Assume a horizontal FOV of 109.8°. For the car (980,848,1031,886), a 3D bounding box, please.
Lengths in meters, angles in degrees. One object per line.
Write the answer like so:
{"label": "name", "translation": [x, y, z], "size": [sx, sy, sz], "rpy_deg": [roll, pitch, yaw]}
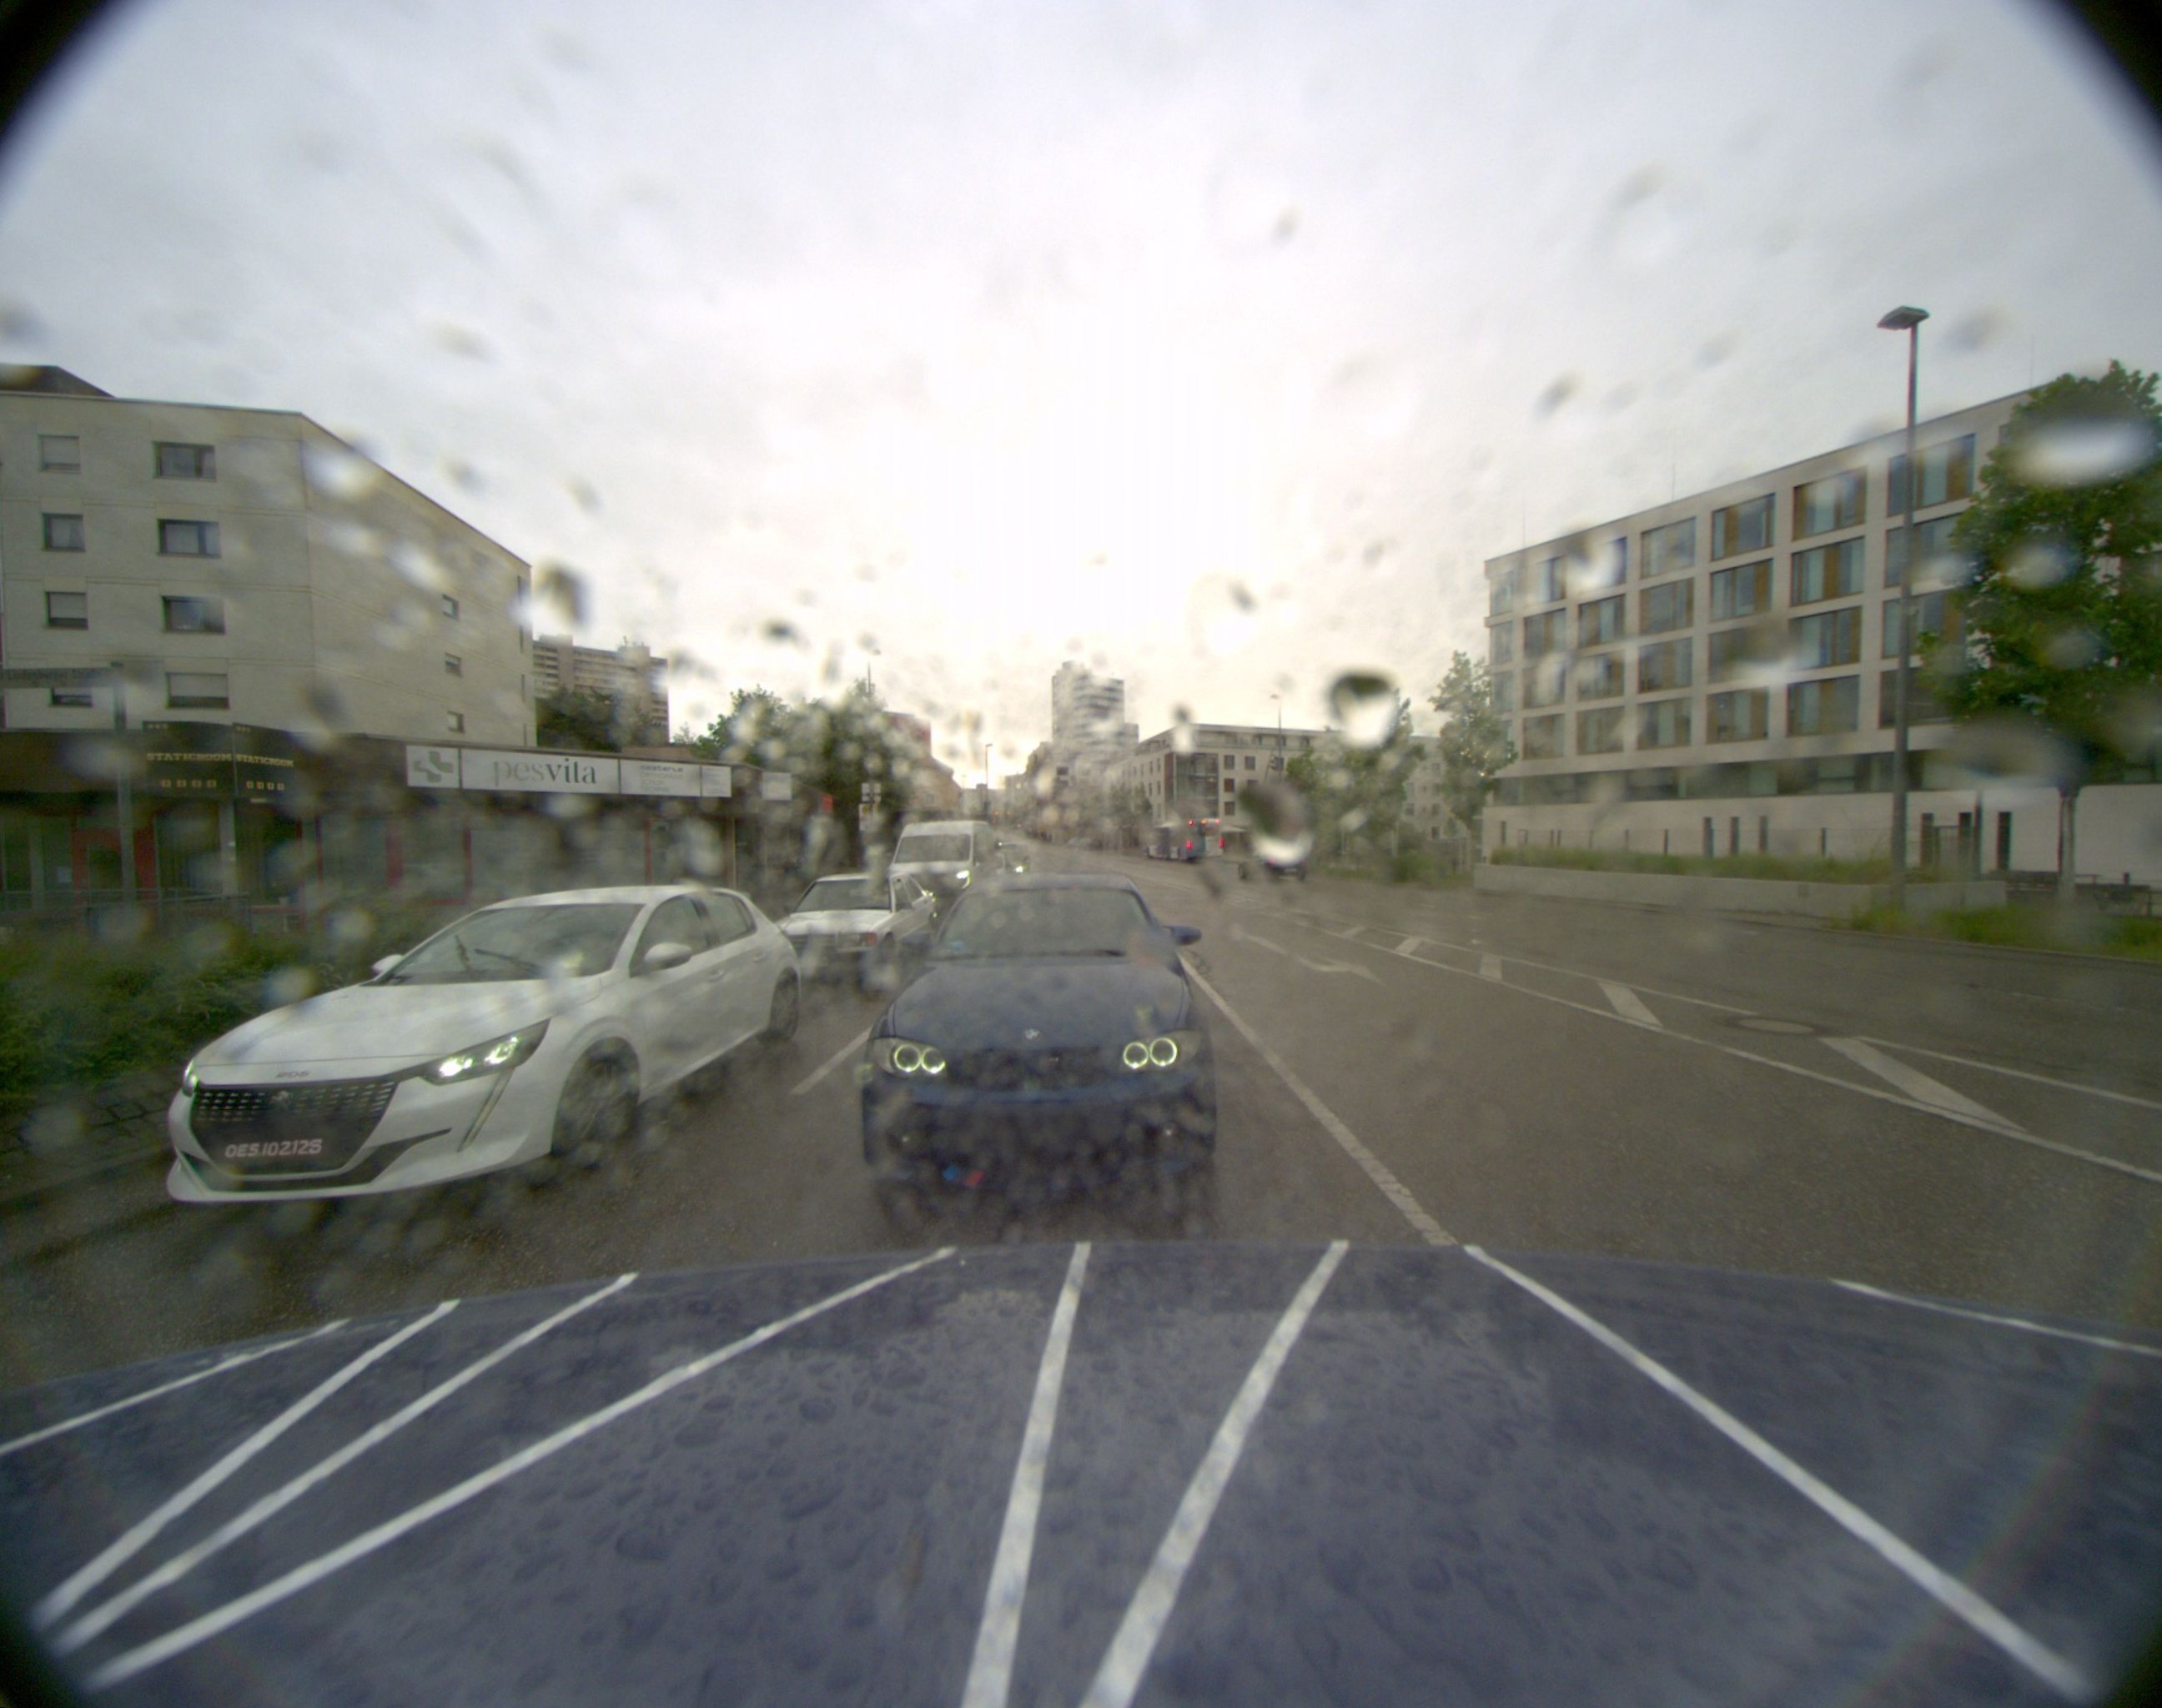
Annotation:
{"label": "car", "translation": [-3.423, 0.556, 35.118], "size": [1.999, 1.559, 3.998], "rpy_deg": [-2, 1, -1]}

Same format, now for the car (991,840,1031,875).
{"label": "car", "translation": [-4.214, 0.153, 46.375], "size": [1.998, 2.002, 3.999], "rpy_deg": [0, 1, 1]}

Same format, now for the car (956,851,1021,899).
{"label": "car", "translation": [-3.324, 0.723, 27.983], "size": [1.803, 1.530, 3.999], "rpy_deg": [-2, 1, 1]}

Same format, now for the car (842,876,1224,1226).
{"label": "car", "translation": [-0.257, 0.952, 5.453], "size": [1.693, 1.380, 3.999], "rpy_deg": [-2, 1, -1]}

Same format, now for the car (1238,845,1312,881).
{"label": "car", "translation": [8.199, 0.360, 32.464], "size": [1.790, 1.382, 4.279], "rpy_deg": [-1, 0, -4]}

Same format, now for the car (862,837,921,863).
{"label": "car", "translation": [-13.758, -0.301, 55.401], "size": [4.000, 1.769, 1.882], "rpy_deg": [-1, 1, -10]}

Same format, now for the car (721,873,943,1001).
{"label": "car", "translation": [-3.379, 1.058, 11.231], "size": [1.788, 1.338, 4.162], "rpy_deg": [-2, 1, 1]}

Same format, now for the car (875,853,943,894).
{"label": "car", "translation": [-7.014, 0.762, 31.451], "size": [1.788, 1.481, 4.000], "rpy_deg": [-2, 1, 1]}

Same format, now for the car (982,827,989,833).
{"label": "car", "translation": [-26.716, -6.754, 211.499], "size": [1.666, 1.625, 3.801], "rpy_deg": [-2, 1, -11]}

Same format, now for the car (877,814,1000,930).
{"label": "car", "translation": [-3.475, 0.335, 19.886], "size": [2.197, 2.503, 6.120], "rpy_deg": [-1, 1, -2]}

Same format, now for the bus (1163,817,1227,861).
{"label": "bus", "translation": [8.624, -1.137, 58.853], "size": [2.785, 3.096, 9.362], "rpy_deg": [-1, 1, -5]}

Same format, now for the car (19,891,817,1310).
{"label": "car", "translation": [-3.366, 1.091, 5.099], "size": [1.666, 1.407, 4.114], "rpy_deg": [-2, 1, 1]}

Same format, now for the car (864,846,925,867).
{"label": "car", "translation": [-12.976, 0.156, 52.995], "size": [4.000, 1.419, 1.882], "rpy_deg": [-1, 1, -10]}

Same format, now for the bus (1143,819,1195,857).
{"label": "bus", "translation": [7.720, -1.399, 67.913], "size": [2.800, 3.096, 8.878], "rpy_deg": [-1, 1, -5]}
